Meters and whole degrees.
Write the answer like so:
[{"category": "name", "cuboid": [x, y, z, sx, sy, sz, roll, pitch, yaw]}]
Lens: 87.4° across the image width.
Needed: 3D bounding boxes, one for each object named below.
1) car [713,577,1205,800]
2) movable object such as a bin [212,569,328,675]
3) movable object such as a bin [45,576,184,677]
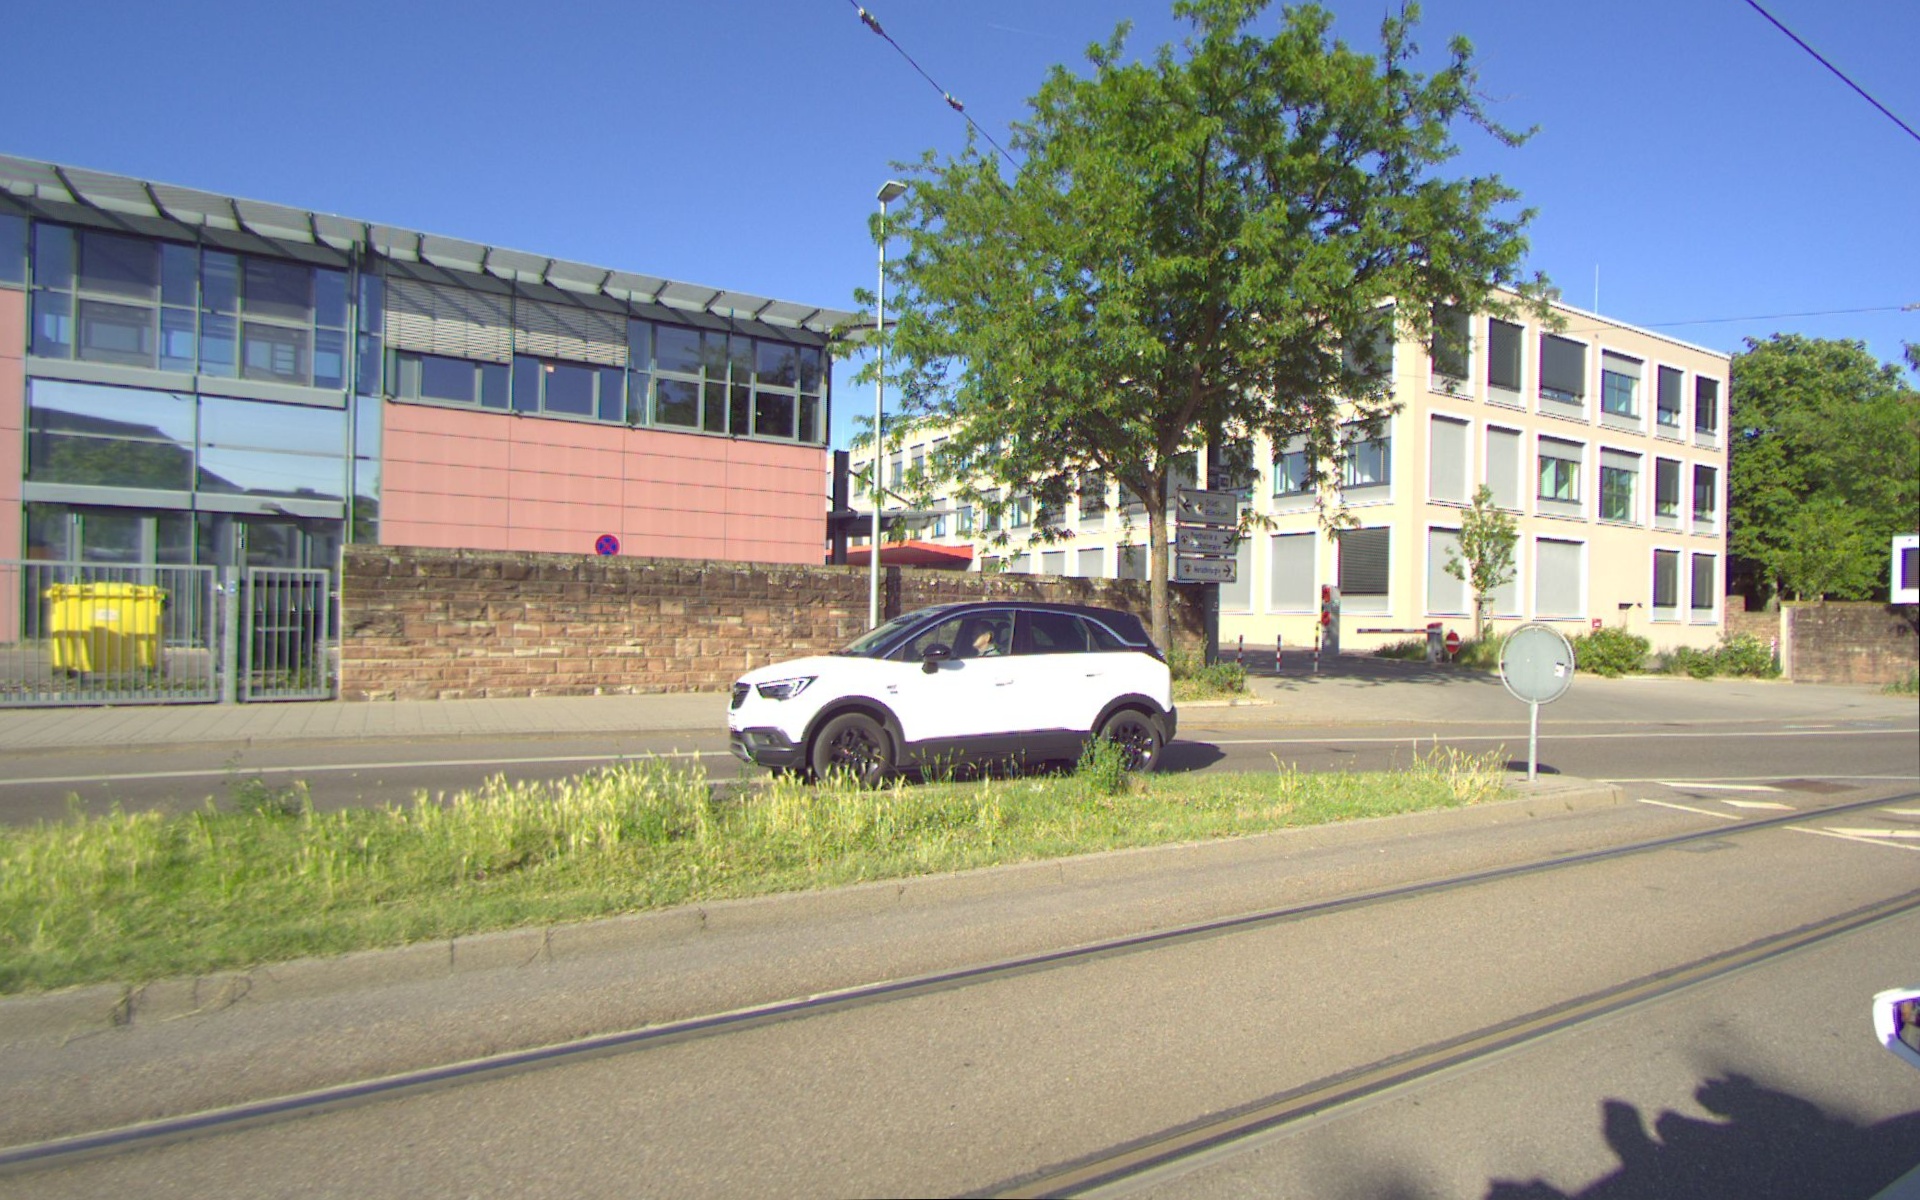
[{"category": "car", "cuboid": [-0.021, 0.727, 9.187, 4.147, 1.685, 1.762, 1, -1, -21]}, {"category": "movable object such as a bin", "cuboid": [-9.966, 0.323, 14.565, 1.294, 1.466, 0.876, 1, -1, -31]}, {"category": "movable object such as a bin", "cuboid": [-11.466, 0.359, 13.682, 1.295, 1.302, 0.876, 2, -1, -32]}]
